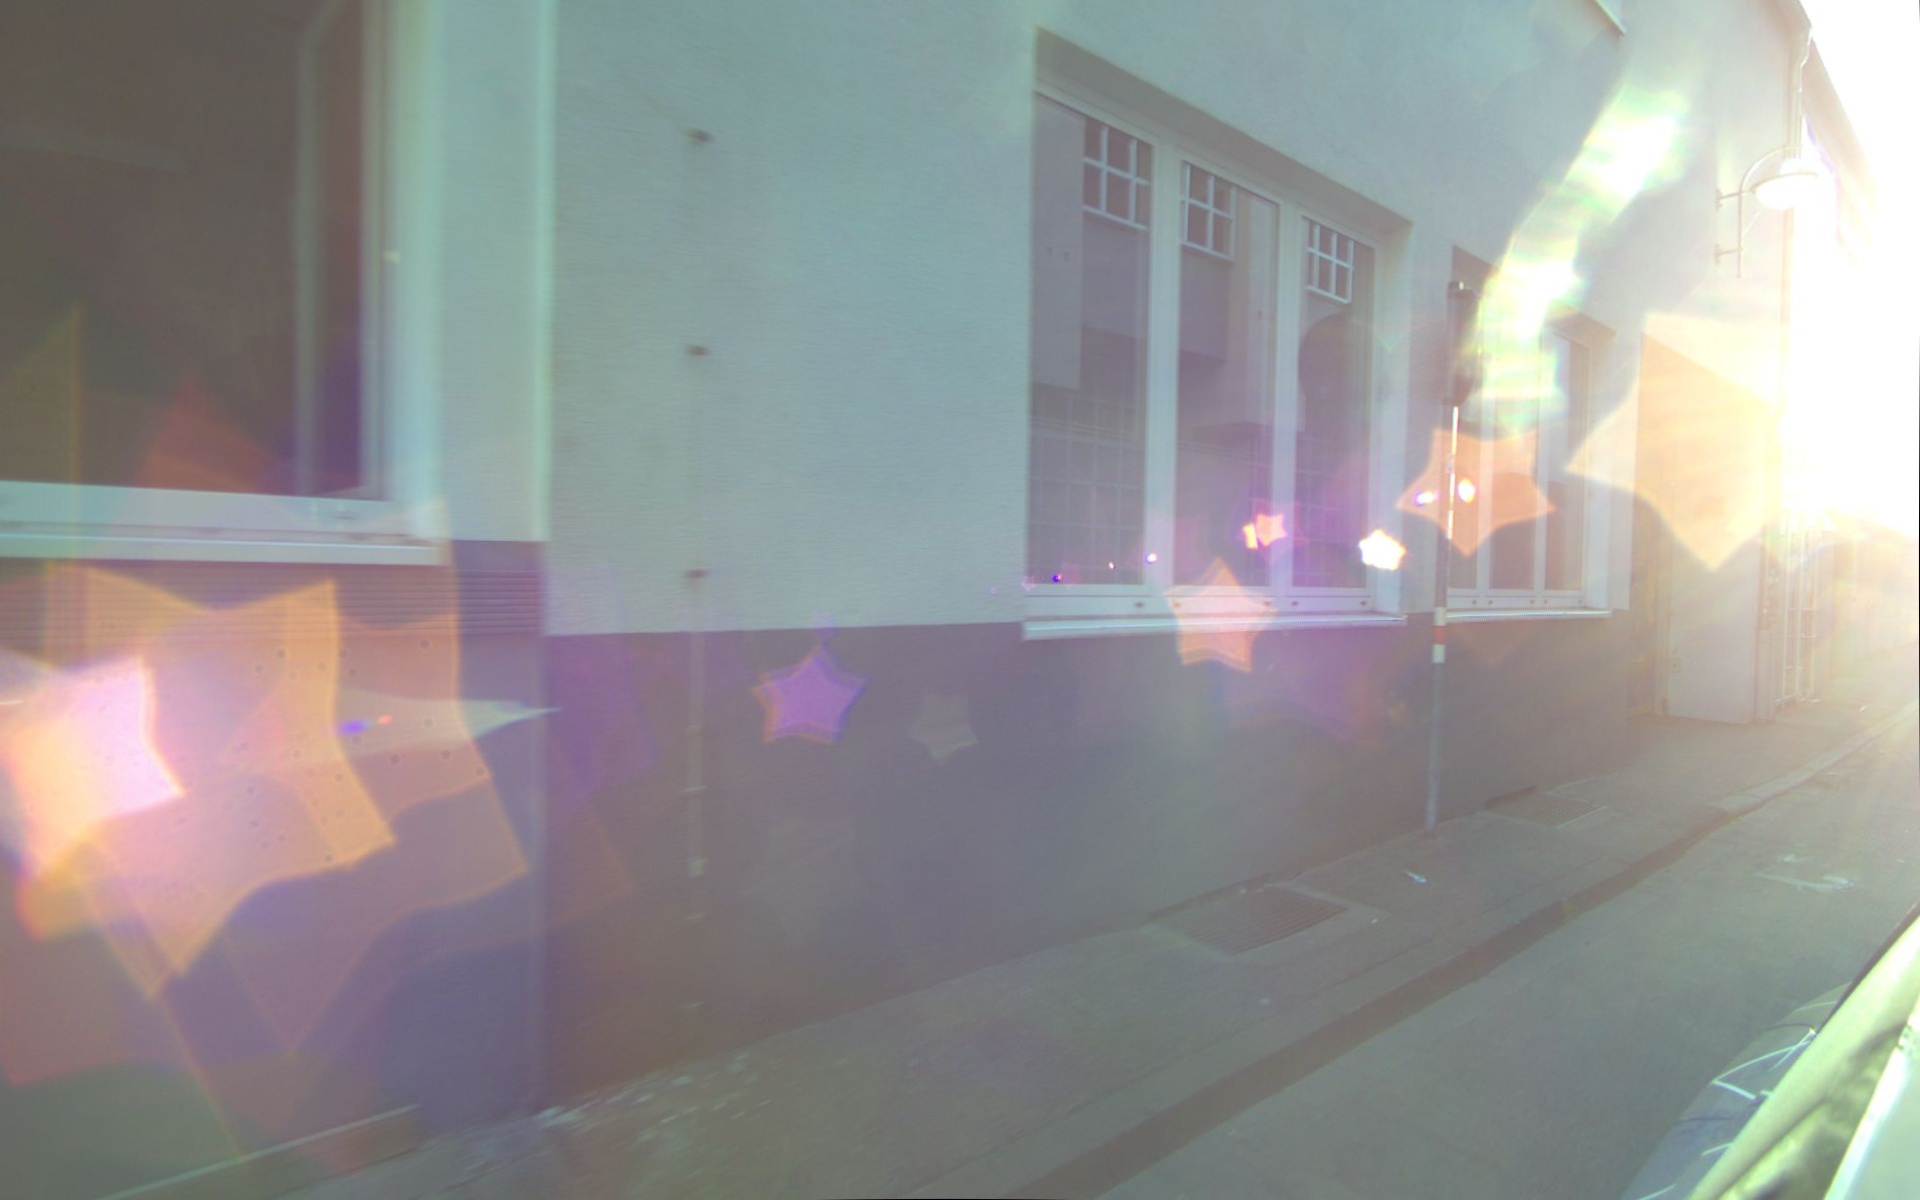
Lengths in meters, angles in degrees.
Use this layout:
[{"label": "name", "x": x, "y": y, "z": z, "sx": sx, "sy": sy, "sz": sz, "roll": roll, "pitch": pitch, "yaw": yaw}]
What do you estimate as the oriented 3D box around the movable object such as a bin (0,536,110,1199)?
[{"label": "movable object such as a bin", "x": -1.796, "y": 0.620, "z": 1.042, "sx": 0.937, "sy": 1.383, "sz": 1.321, "roll": 5, "pitch": 4, "yaw": 43}]
